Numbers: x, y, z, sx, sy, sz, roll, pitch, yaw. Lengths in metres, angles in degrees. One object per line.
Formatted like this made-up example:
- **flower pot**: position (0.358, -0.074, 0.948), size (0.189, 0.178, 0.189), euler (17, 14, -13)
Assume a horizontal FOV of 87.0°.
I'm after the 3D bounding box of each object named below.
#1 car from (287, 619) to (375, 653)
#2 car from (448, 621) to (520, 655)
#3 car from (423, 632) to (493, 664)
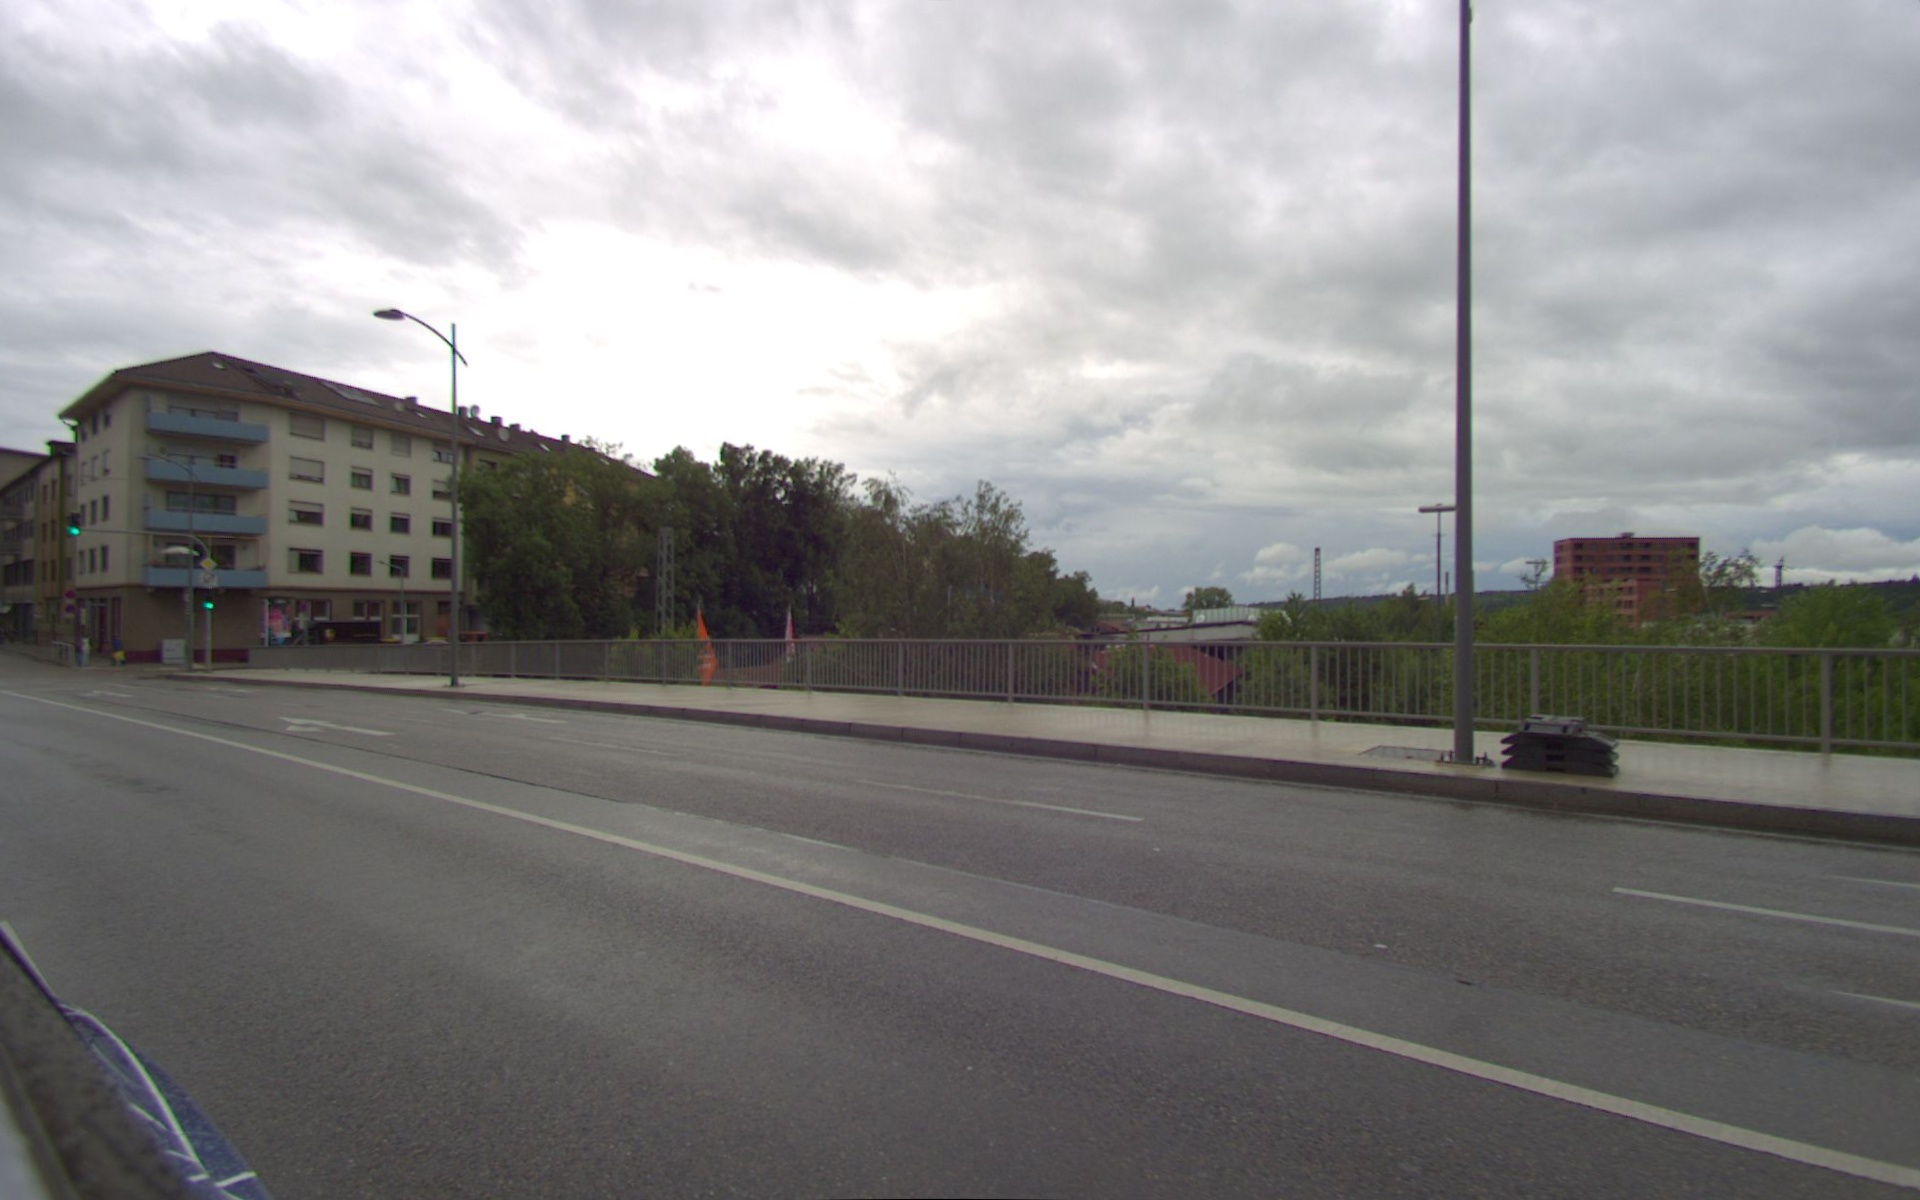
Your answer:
- **car**: position (-39.186, 2.207, 63.202), size (2.119, 2.029, 4.326), euler (0, 0, 20)
- **car**: position (-30.716, 2.388, 65.438), size (2.112, 2.029, 4.340), euler (0, 0, 11)
- **car**: position (-34.577, 3.272, 69.856), size (2.112, 2.029, 4.340), euler (0, 0, 11)
